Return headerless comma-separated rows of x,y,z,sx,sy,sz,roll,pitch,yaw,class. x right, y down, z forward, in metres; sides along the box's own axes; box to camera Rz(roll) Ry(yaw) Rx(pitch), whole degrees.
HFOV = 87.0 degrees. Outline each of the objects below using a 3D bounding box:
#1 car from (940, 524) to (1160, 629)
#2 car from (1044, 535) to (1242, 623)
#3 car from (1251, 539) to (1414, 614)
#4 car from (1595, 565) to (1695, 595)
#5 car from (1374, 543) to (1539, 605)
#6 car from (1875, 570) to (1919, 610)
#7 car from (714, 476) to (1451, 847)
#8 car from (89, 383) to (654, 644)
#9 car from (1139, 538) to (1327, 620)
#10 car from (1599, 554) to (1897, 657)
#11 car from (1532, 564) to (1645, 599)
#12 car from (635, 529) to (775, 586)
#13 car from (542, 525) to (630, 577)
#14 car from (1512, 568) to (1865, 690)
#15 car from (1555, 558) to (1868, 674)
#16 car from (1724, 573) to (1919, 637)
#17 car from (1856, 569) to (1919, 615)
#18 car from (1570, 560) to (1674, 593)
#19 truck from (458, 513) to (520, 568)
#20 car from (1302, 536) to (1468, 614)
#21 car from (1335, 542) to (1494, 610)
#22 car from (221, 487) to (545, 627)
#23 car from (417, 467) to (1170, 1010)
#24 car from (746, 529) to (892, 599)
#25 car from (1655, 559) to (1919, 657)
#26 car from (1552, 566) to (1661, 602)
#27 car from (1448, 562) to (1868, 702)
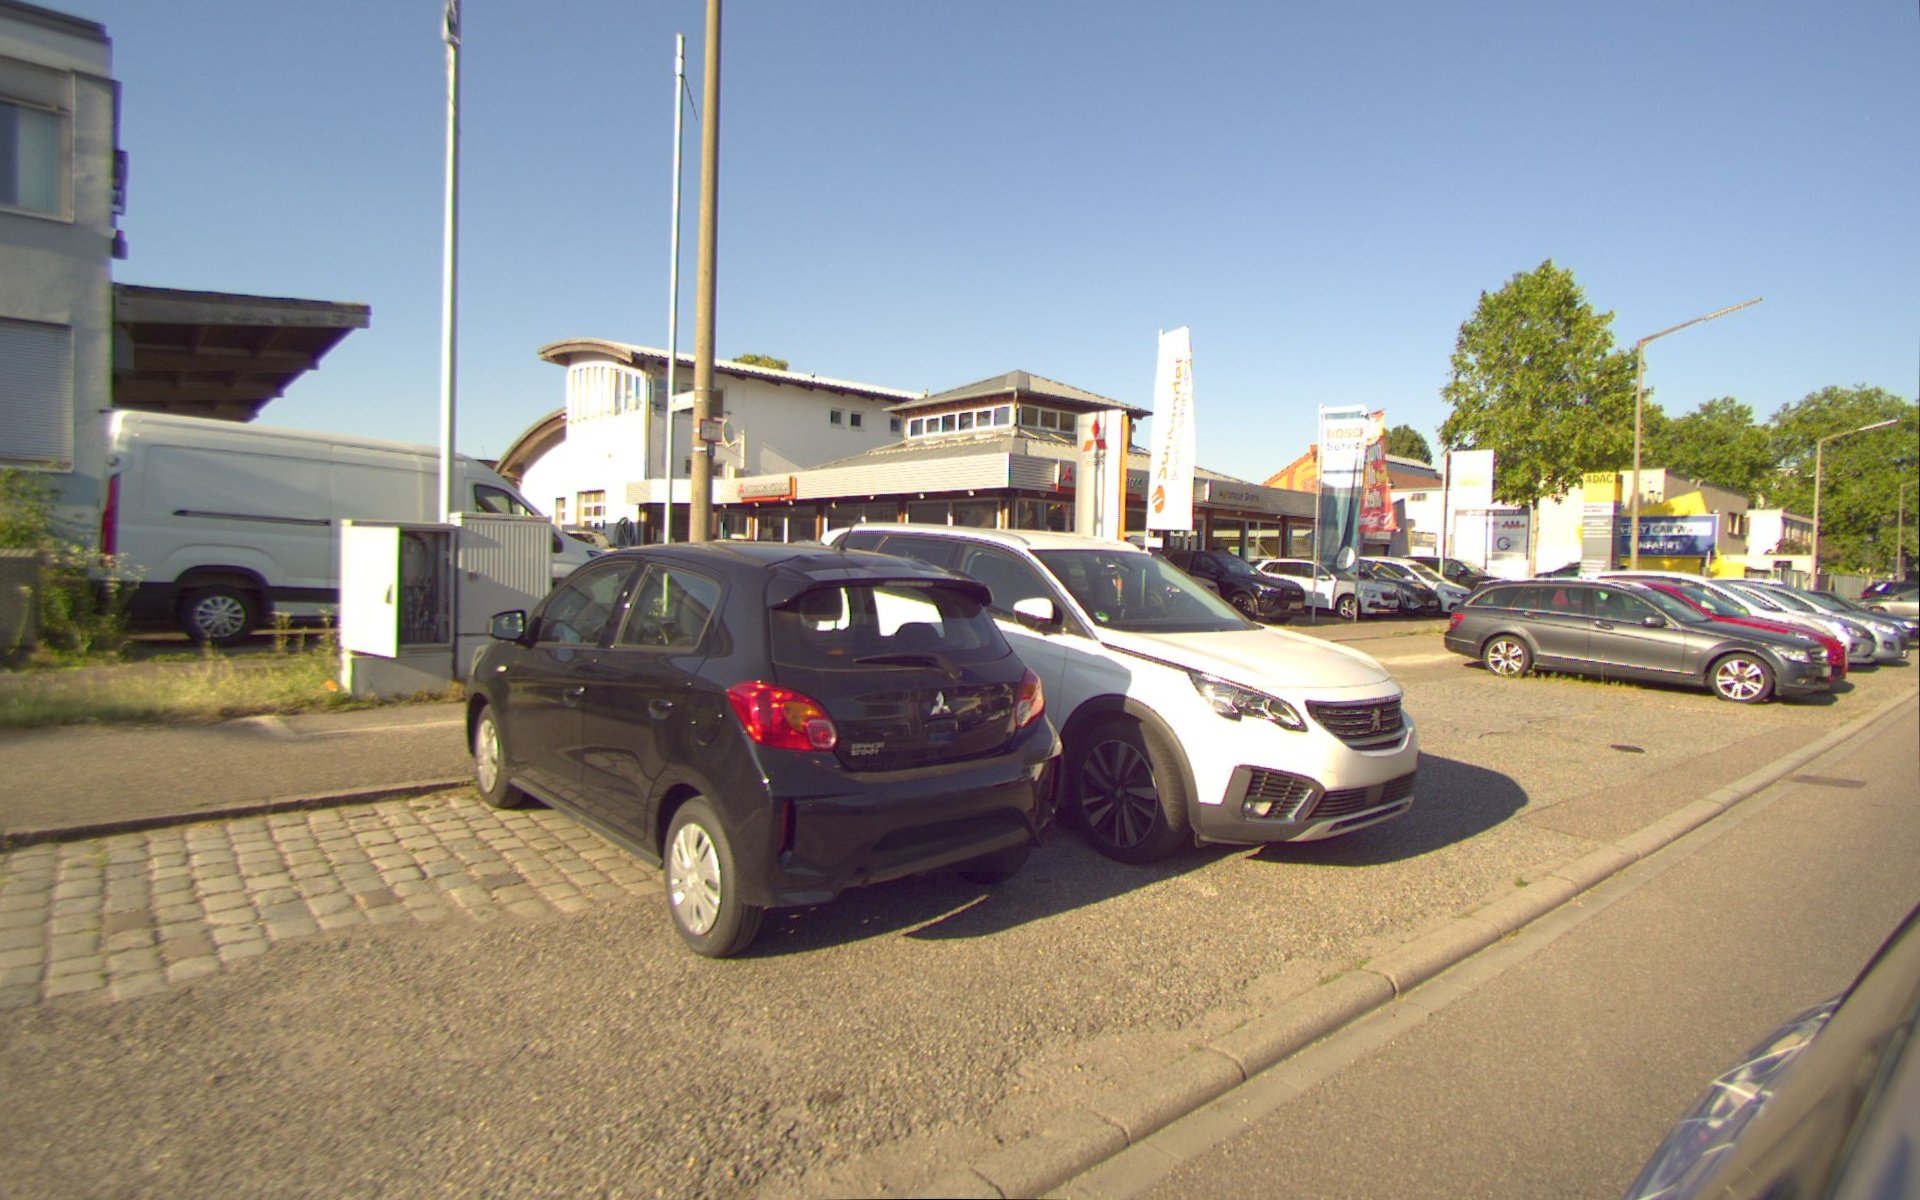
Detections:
1.693,-0.551,20.157,1.965,1.792,4.154,-1,5,-40,car
4.002,-0.537,22.615,1.965,1.679,3.997,-1,5,-40,car
10.299,-0.714,28.170,1.756,1.921,3.910,-4,4,-40,car
35.160,-1.038,52.009,1.968,1.515,3.989,-1,2,-44,car
16.566,-0.886,33.906,2.164,1.922,4.503,-2,2,-41,car
41.879,-0.307,42.611,1.964,1.598,4.616,-1,6,-38,car
0.470,0.045,6.806,2.165,1.616,4.563,-2,6,-43,car
-7.243,-0.957,13.066,6.031,2.658,1.997,-1,2,-41,car
6.579,-0.581,24.722,1.965,1.717,3.997,-1,5,-40,car
14.572,0.003,18.871,2.025,1.637,4.113,-1,4,-44,car
28.365,-0.858,45.744,1.968,1.538,3.989,-1,2,-44,car
-7.114,-1.161,28.667,1.977,1.486,3.849,0,2,22,car
-12.605,-1.608,33.986,1.658,1.640,3.874,-1,2,-38,car
11.094,0.336,15.610,4.242,1.625,1.719,1,2,44,car
12.834,0.185,17.456,1.853,1.761,4.112,-1,2,-44,car
21.710,0.071,25.154,1.751,1.311,4.000,-1,4,-38,car
37.768,-0.229,38.970,1.965,1.632,4.612,-1,6,-41,car
32.468,-1.148,49.676,1.922,1.538,3.989,-1,2,-44,car
-22.176,-2.749,47.545,1.658,2.437,4.478,-1,2,-38,truck
12.396,-0.776,29.671,2.163,1.920,3.810,0,6,-41,car
14.132,-0.756,31.608,2.163,1.922,3.941,3,0,-41,car
-8.582,-0.613,15.207,3.931,1.821,1.997,-1,2,-41,car
-1.242,0.252,5.264,1.888,1.642,4.258,-1,5,-41,car
-3.441,-0.877,25.360,1.977,1.601,3.849,0,2,22,car
16.509,0.070,20.210,1.837,1.607,3.992,-1,5,-44,car
30.384,-0.771,47.617,1.968,1.615,3.989,-1,2,-44,car
9.594,0.302,14.217,2.098,1.453,4.447,-1,5,-41,car
